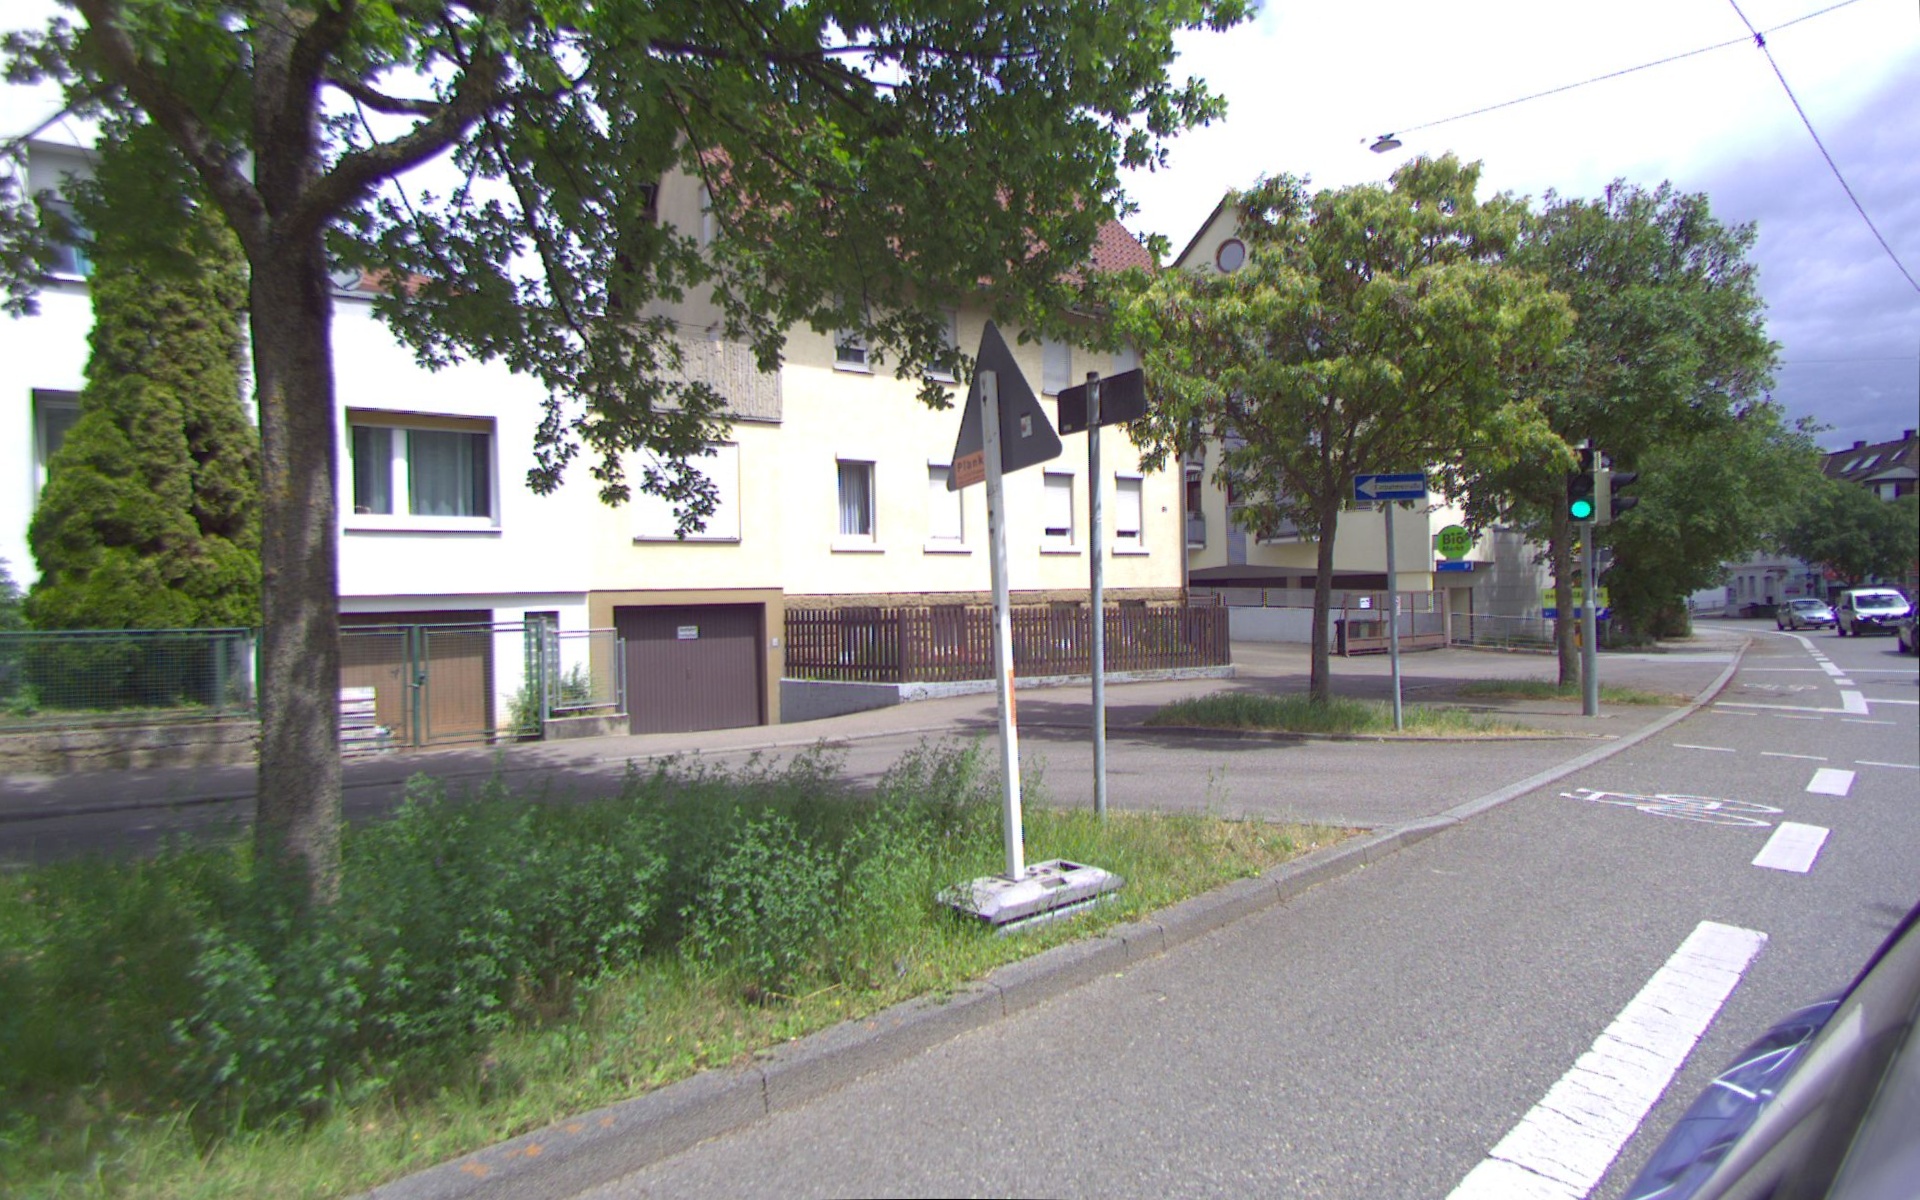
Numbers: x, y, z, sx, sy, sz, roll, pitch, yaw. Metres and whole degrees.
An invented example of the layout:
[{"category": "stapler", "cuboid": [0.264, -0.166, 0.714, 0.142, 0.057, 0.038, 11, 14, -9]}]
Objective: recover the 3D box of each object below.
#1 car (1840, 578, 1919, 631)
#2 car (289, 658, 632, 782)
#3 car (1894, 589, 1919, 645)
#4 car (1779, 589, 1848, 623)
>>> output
[{"category": "car", "cuboid": [35.207, 0.154, 38.639, 1.840, 1.839, 3.951, -4, -1, 34]}, {"category": "car", "cuboid": [-6.395, 1.454, 13.138, 3.798, 1.139, 1.467, -3, -1, -33]}, {"category": "car", "cuboid": [25.254, 0.423, 25.446, 1.827, 1.408, 3.955, -1, -1, 31]}, {"category": "car", "cuboid": [41.425, 0.282, 49.196, 1.678, 1.505, 3.960, -4, -1, 28]}]
